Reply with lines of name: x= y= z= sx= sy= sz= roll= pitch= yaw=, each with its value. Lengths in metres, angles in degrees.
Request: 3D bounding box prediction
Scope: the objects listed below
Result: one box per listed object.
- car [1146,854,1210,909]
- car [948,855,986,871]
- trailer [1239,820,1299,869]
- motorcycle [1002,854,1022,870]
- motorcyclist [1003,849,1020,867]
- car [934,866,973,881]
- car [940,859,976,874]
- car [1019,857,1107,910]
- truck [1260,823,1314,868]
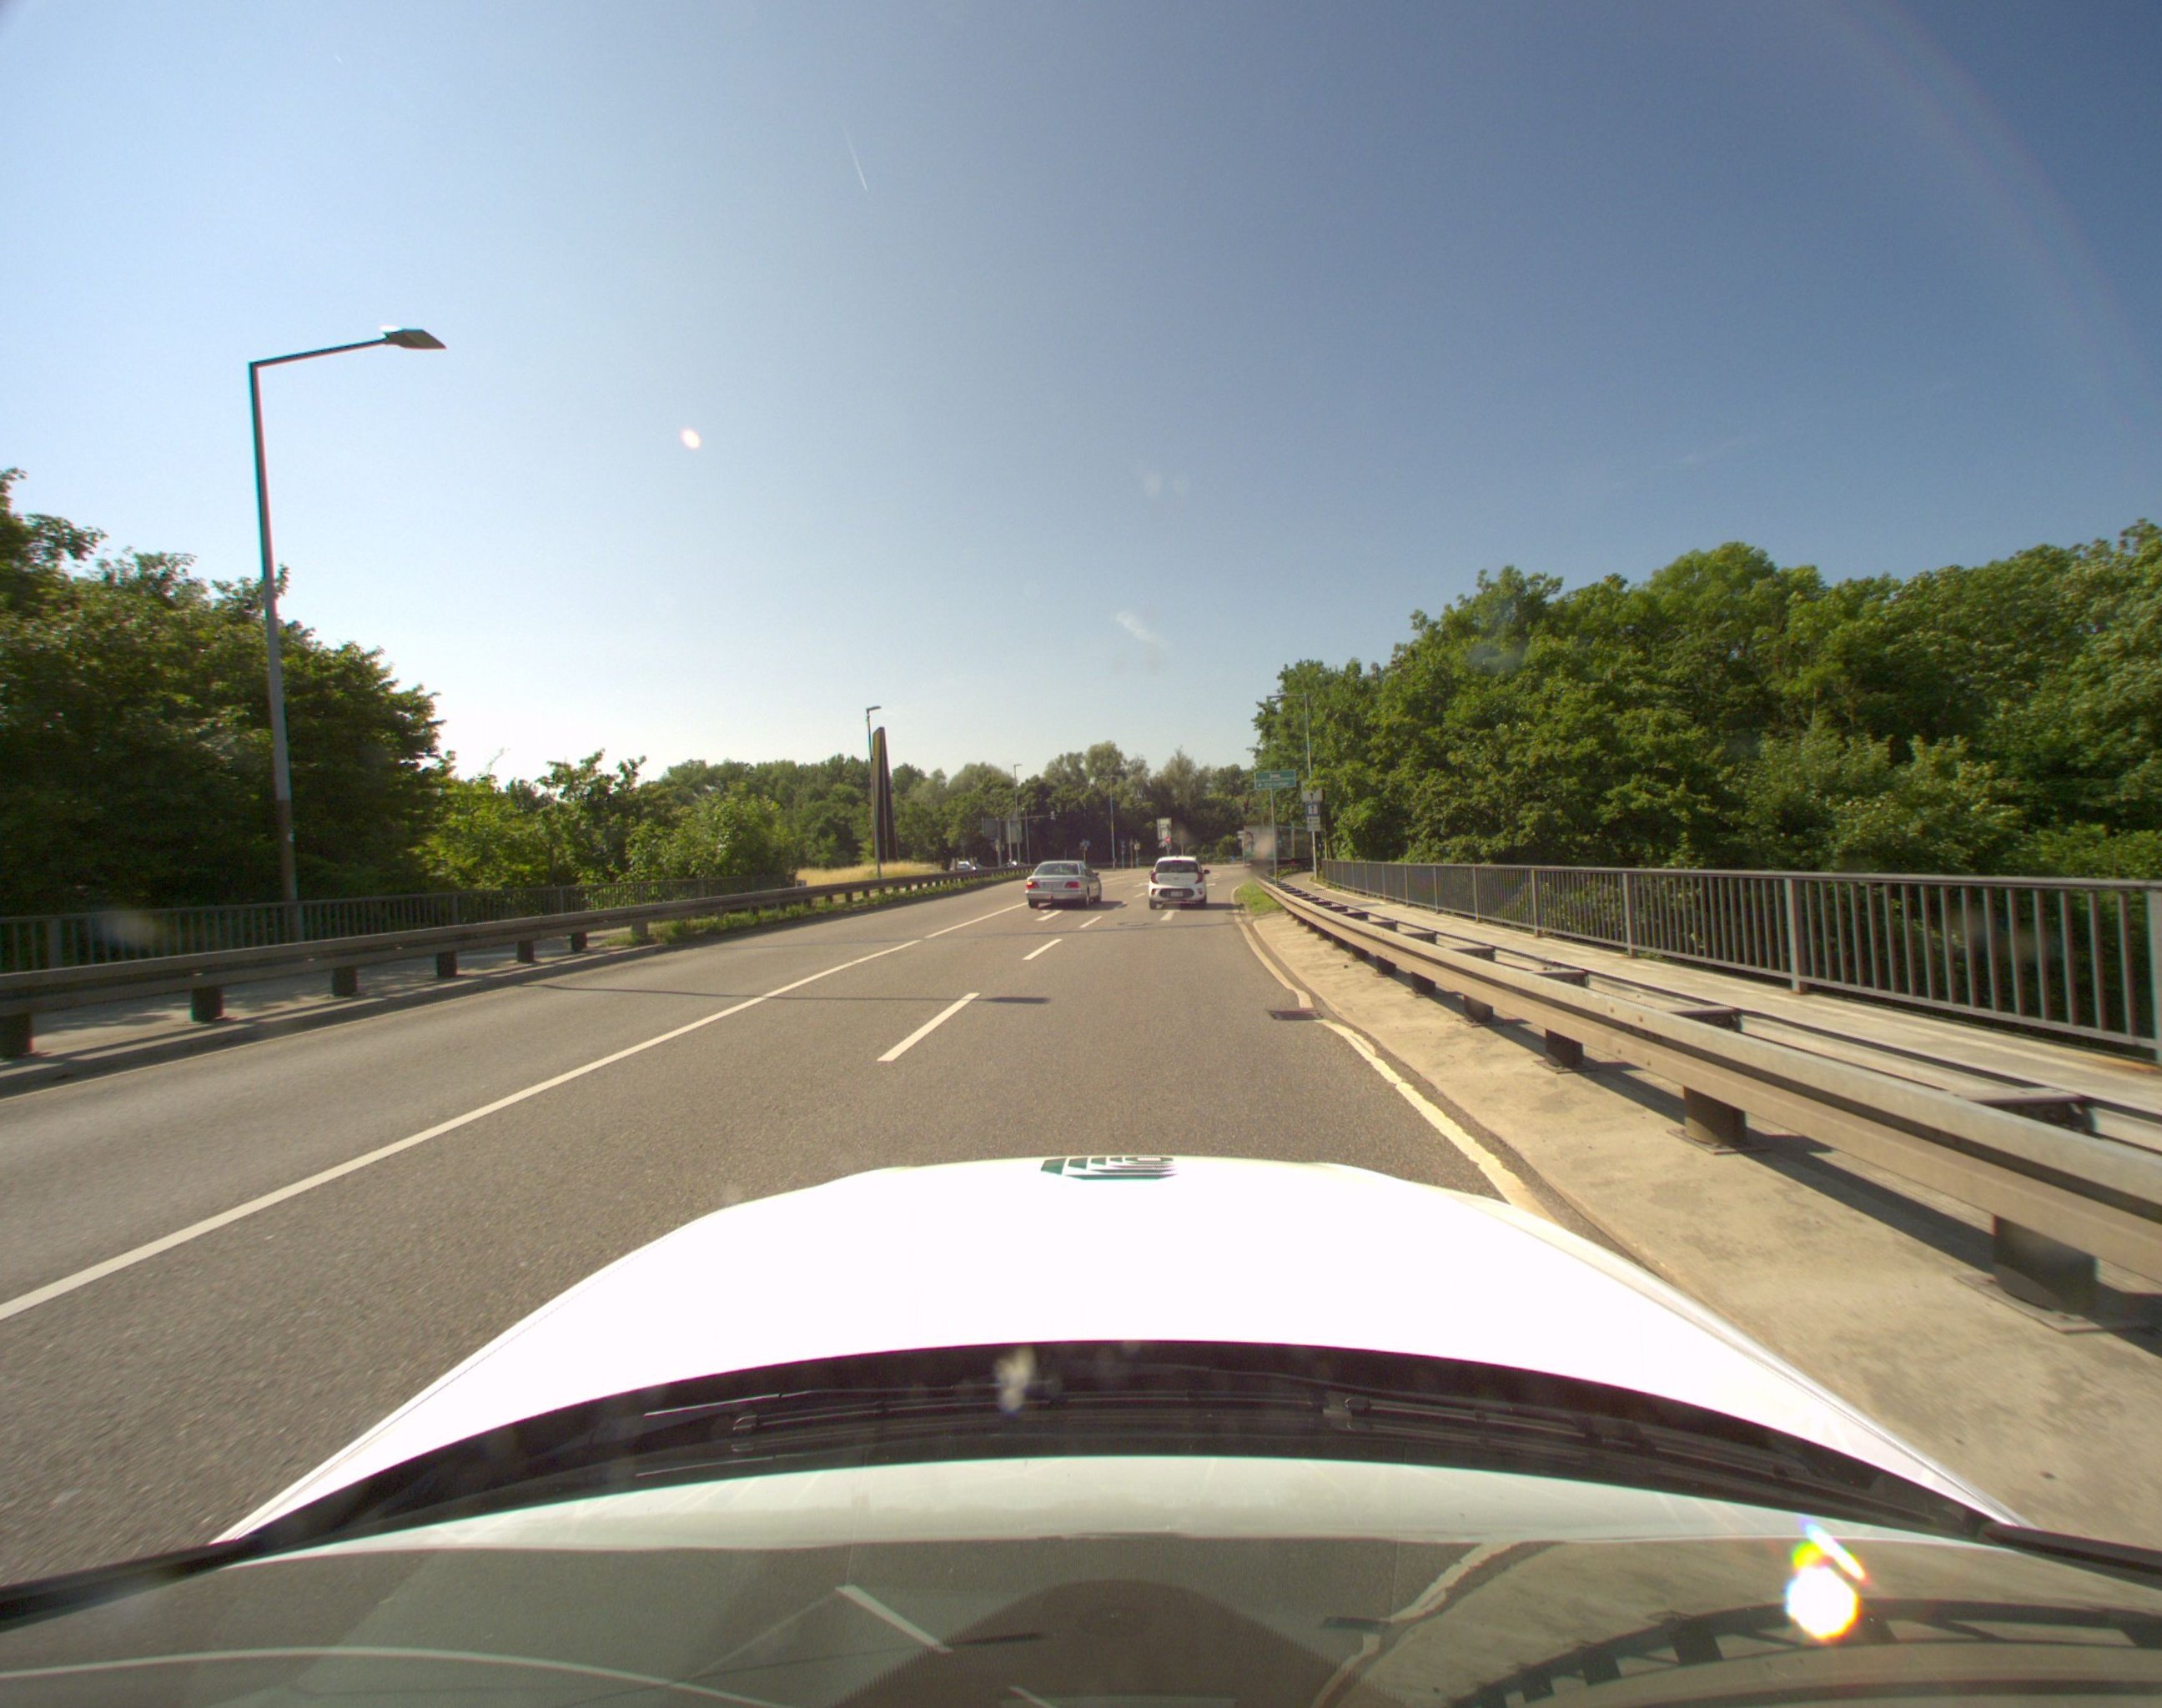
car: x=2.970 y=0.766 z=24.387 sx=1.691 sy=1.494 sz=4.011 roll=0 pitch=0 yaw=10
car: x=-11.916 y=0.931 z=85.011 sx=3.948 sy=1.389 sz=1.713 roll=-6 pitch=-5 yaw=39
trailer: x=15.247 y=-0.741 z=65.509 sx=3.195 sy=3.758 sz=7.868 roll=1 pitch=0 yaw=24
motorcycle: x=-7.466 y=0.889 z=87.978 sx=1.957 sy=1.529 sz=0.905 roll=-7 pitch=-5 yaw=37
motorcyclist: x=-7.490 y=0.441 z=87.989 sx=1.445 sy=1.870 sz=0.898 roll=-6 pitch=-4 yaw=37
car: x=-14.381 y=2.240 z=91.785 sx=3.948 sy=1.389 sz=2.137 roll=-6 pitch=-5 yaw=39
car: x=-13.754 y=1.373 z=90.846 sx=3.948 sy=1.389 sz=1.778 roll=-6 pitch=-5 yaw=39
car: x=-0.446 y=0.846 z=25.486 sx=1.928 sy=1.486 sz=4.912 roll=-1 pitch=0 yaw=9
truck: x=18.540 y=-0.746 z=72.878 sx=3.231 sy=3.758 sz=8.417 roll=1 pitch=0 yaw=24
